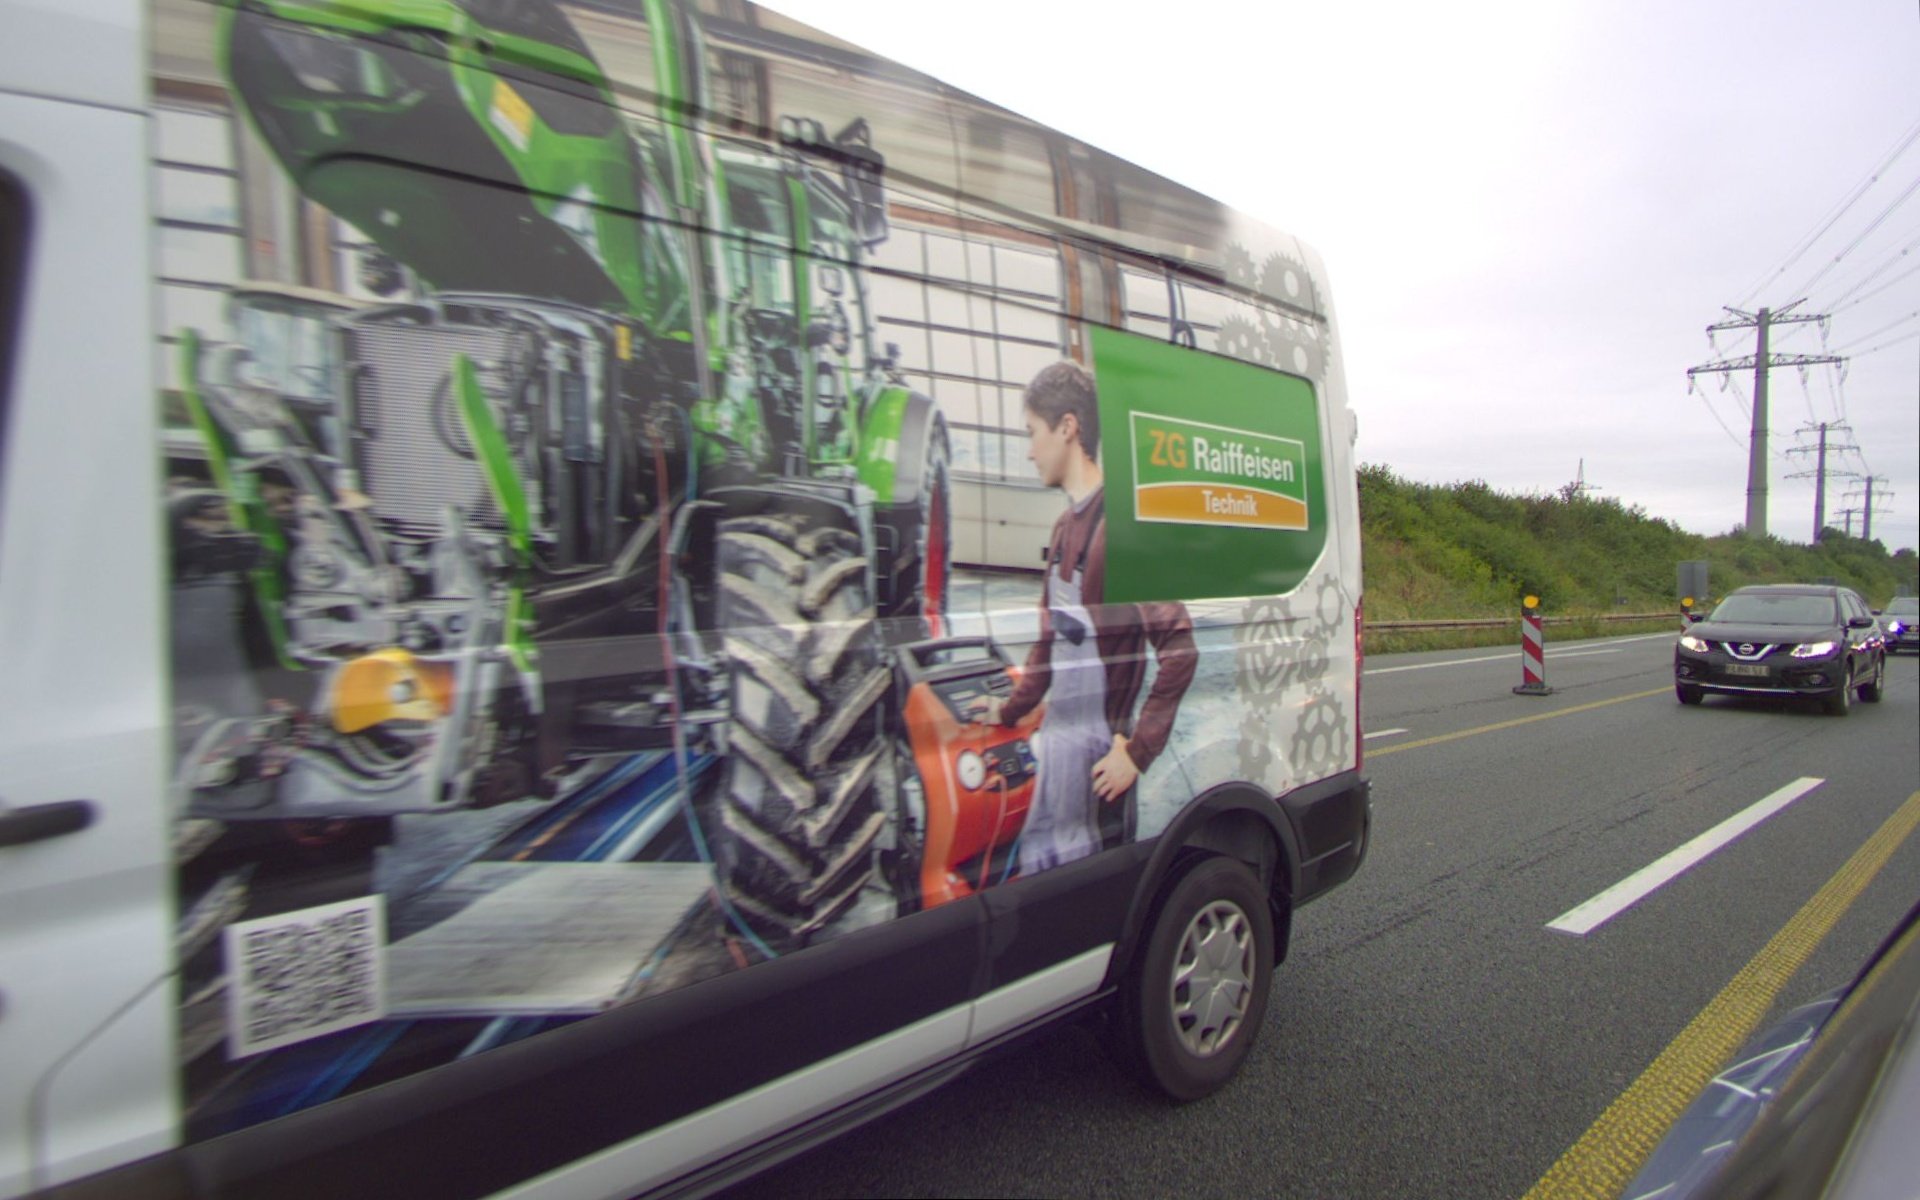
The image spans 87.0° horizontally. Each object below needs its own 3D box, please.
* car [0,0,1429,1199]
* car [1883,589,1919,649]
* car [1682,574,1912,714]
[{"bbox_3d":[-1.074,-0.015,2.535,5.657,2.817,1.997,0,1,-42],"label":"car"},{"bbox_3d":[26.445,0.490,27.402,4.079,1.552,1.802,0,1,-42],"label":"car"},{"bbox_3d":[11.753,0.505,14.120,4.203,1.679,1.688,0,1,-39],"label":"car"}]
